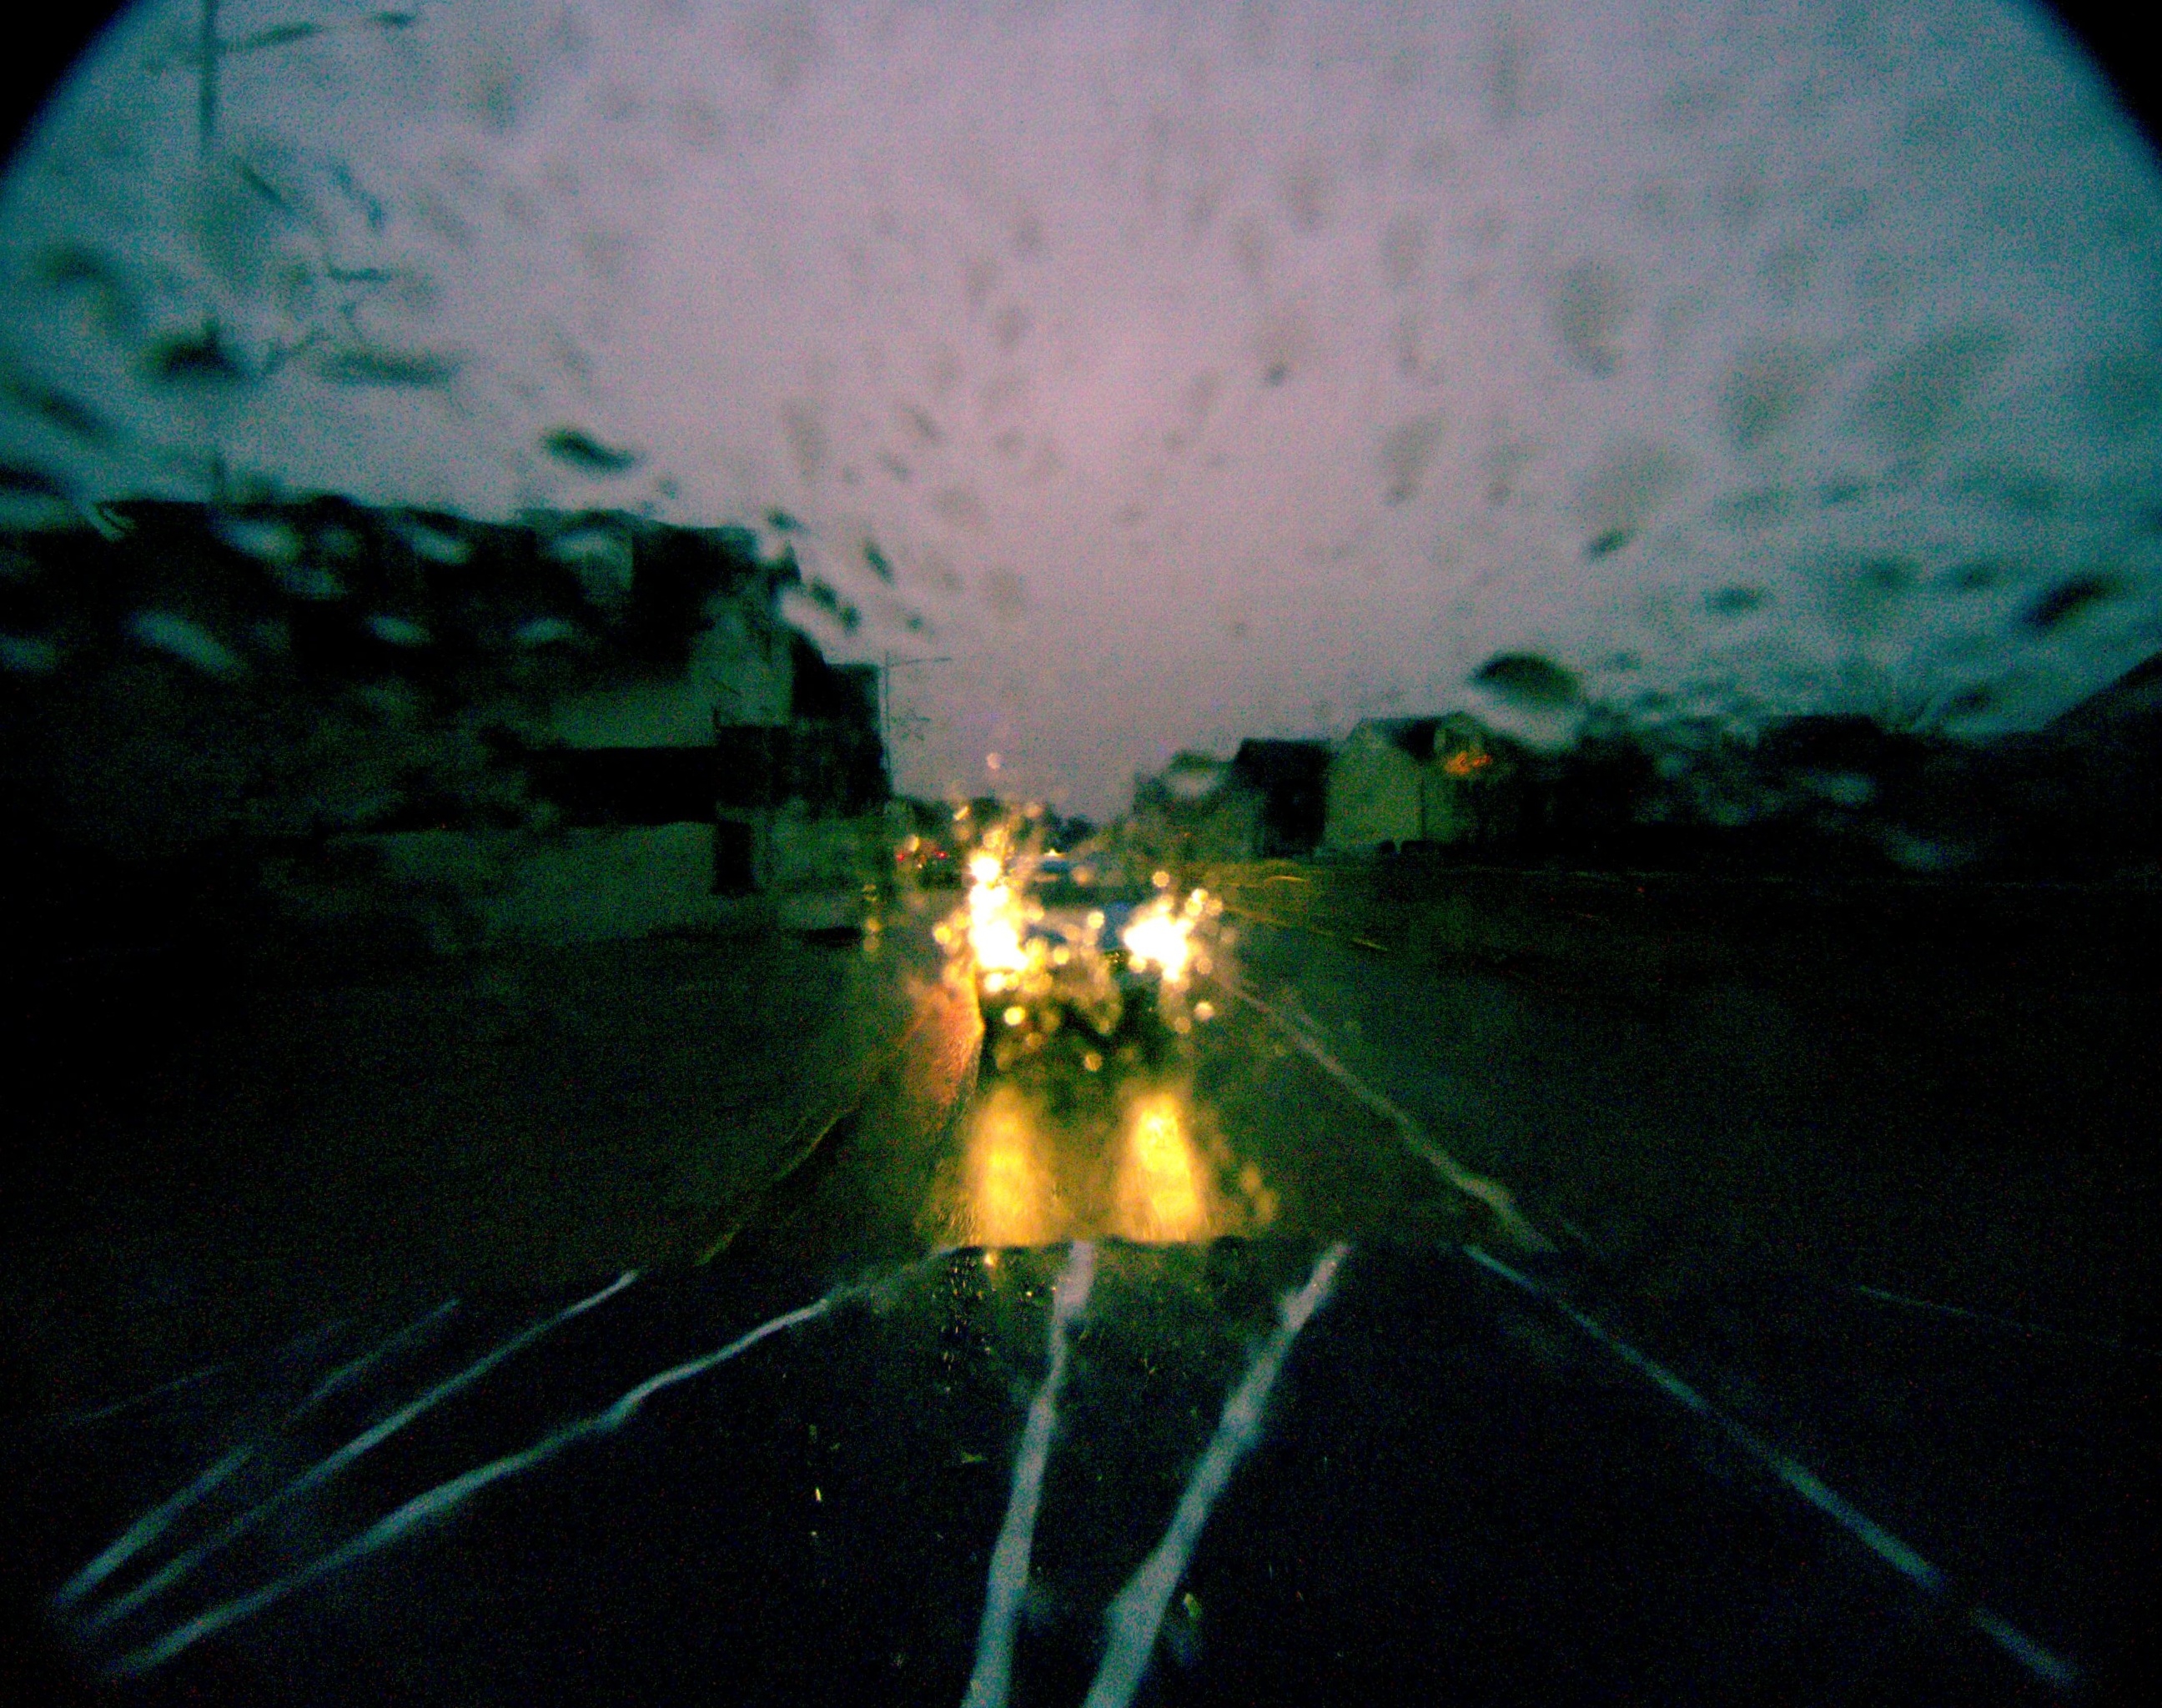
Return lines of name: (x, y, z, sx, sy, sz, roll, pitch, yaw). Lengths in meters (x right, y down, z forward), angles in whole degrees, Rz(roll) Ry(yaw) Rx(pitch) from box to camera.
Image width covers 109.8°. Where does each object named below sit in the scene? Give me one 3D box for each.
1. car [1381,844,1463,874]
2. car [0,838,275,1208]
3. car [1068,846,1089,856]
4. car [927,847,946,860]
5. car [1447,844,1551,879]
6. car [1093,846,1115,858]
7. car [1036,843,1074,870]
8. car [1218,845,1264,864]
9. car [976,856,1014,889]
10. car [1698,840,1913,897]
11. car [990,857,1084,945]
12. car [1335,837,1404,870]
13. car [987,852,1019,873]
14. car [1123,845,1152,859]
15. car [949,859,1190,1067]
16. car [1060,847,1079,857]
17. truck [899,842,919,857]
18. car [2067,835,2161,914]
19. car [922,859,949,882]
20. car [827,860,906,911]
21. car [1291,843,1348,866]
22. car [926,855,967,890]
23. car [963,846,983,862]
car: (17.656, 0.246, 39.542, 1.800, 1.460, 4.253, -1, 1, -10)
car: (-7.133, 0.654, 3.666, 4.152, 1.625, 1.753, 6, 0, -8)
car: (-0.374, -0.429, 108.547, 1.801, 1.460, 4.251, -1, 1, -15)
car: (-17.041, -0.032, 89.339, 1.756, 1.409, 3.749, 0, -1, -19)
car: (18.744, 0.305, 34.290, 1.800, 1.460, 4.253, -1, 1, -10)
car: (2.935, -0.283, 98.065, 1.801, 1.460, 4.251, -1, 1, -15)
car: (-2.102, 0.194, 60.407, 2.001, 2.002, 3.994, -2, 1, -16)
car: (12.888, 0.002, 61.563, 1.801, 1.460, 4.610, -1, 1, -15)
car: (-4.417, 0.889, 38.719, 1.573, 1.460, 3.612, -3, 1, -11)
car: (20.615, 0.365, 21.905, 1.800, 1.460, 4.253, -1, 1, -10)
car: (-1.081, 0.920, 16.791, 1.682, 1.615, 3.996, -2, 1, -8)
car: (16.761, -0.037, 44.348, 1.800, 1.816, 4.253, -1, 1, -11)
car: (-5.902, 0.616, 57.122, 1.673, 1.513, 3.994, 0, -1, -17)
car: (6.182, -0.245, 83.351, 1.801, 1.460, 4.251, -1, 1, -15)
car: (-0.067, 0.901, 8.150, 1.888, 1.570, 4.000, -2, 0, 1)
car: (-1.735, -0.272, 113.646, 1.801, 1.460, 4.251, -1, 1, -15)
truck: (-24.898, -0.652, 109.897, 2.148, 2.001, 4.528, 0, -1, -22)
car: (21.313, 0.386, 14.054, 1.479, 1.500, 3.501, -1, 1, -7)
car: (-8.526, 0.958, 44.292, 1.498, 1.283, 3.288, 0, 0, -12)
car: (-6.702, 0.936, 24.082, 1.777, 1.488, 3.776, 0, 0, -6)
car: (15.641, 0.033, 50.006, 1.677, 1.460, 4.012, 1, 0, -15)
car: (-6.664, 0.887, 38.048, 1.849, 1.577, 3.766, -1, 0, -8)
car: (-14.334, 0.045, 100.261, 2.001, 2.002, 3.994, -2, 1, -16)
